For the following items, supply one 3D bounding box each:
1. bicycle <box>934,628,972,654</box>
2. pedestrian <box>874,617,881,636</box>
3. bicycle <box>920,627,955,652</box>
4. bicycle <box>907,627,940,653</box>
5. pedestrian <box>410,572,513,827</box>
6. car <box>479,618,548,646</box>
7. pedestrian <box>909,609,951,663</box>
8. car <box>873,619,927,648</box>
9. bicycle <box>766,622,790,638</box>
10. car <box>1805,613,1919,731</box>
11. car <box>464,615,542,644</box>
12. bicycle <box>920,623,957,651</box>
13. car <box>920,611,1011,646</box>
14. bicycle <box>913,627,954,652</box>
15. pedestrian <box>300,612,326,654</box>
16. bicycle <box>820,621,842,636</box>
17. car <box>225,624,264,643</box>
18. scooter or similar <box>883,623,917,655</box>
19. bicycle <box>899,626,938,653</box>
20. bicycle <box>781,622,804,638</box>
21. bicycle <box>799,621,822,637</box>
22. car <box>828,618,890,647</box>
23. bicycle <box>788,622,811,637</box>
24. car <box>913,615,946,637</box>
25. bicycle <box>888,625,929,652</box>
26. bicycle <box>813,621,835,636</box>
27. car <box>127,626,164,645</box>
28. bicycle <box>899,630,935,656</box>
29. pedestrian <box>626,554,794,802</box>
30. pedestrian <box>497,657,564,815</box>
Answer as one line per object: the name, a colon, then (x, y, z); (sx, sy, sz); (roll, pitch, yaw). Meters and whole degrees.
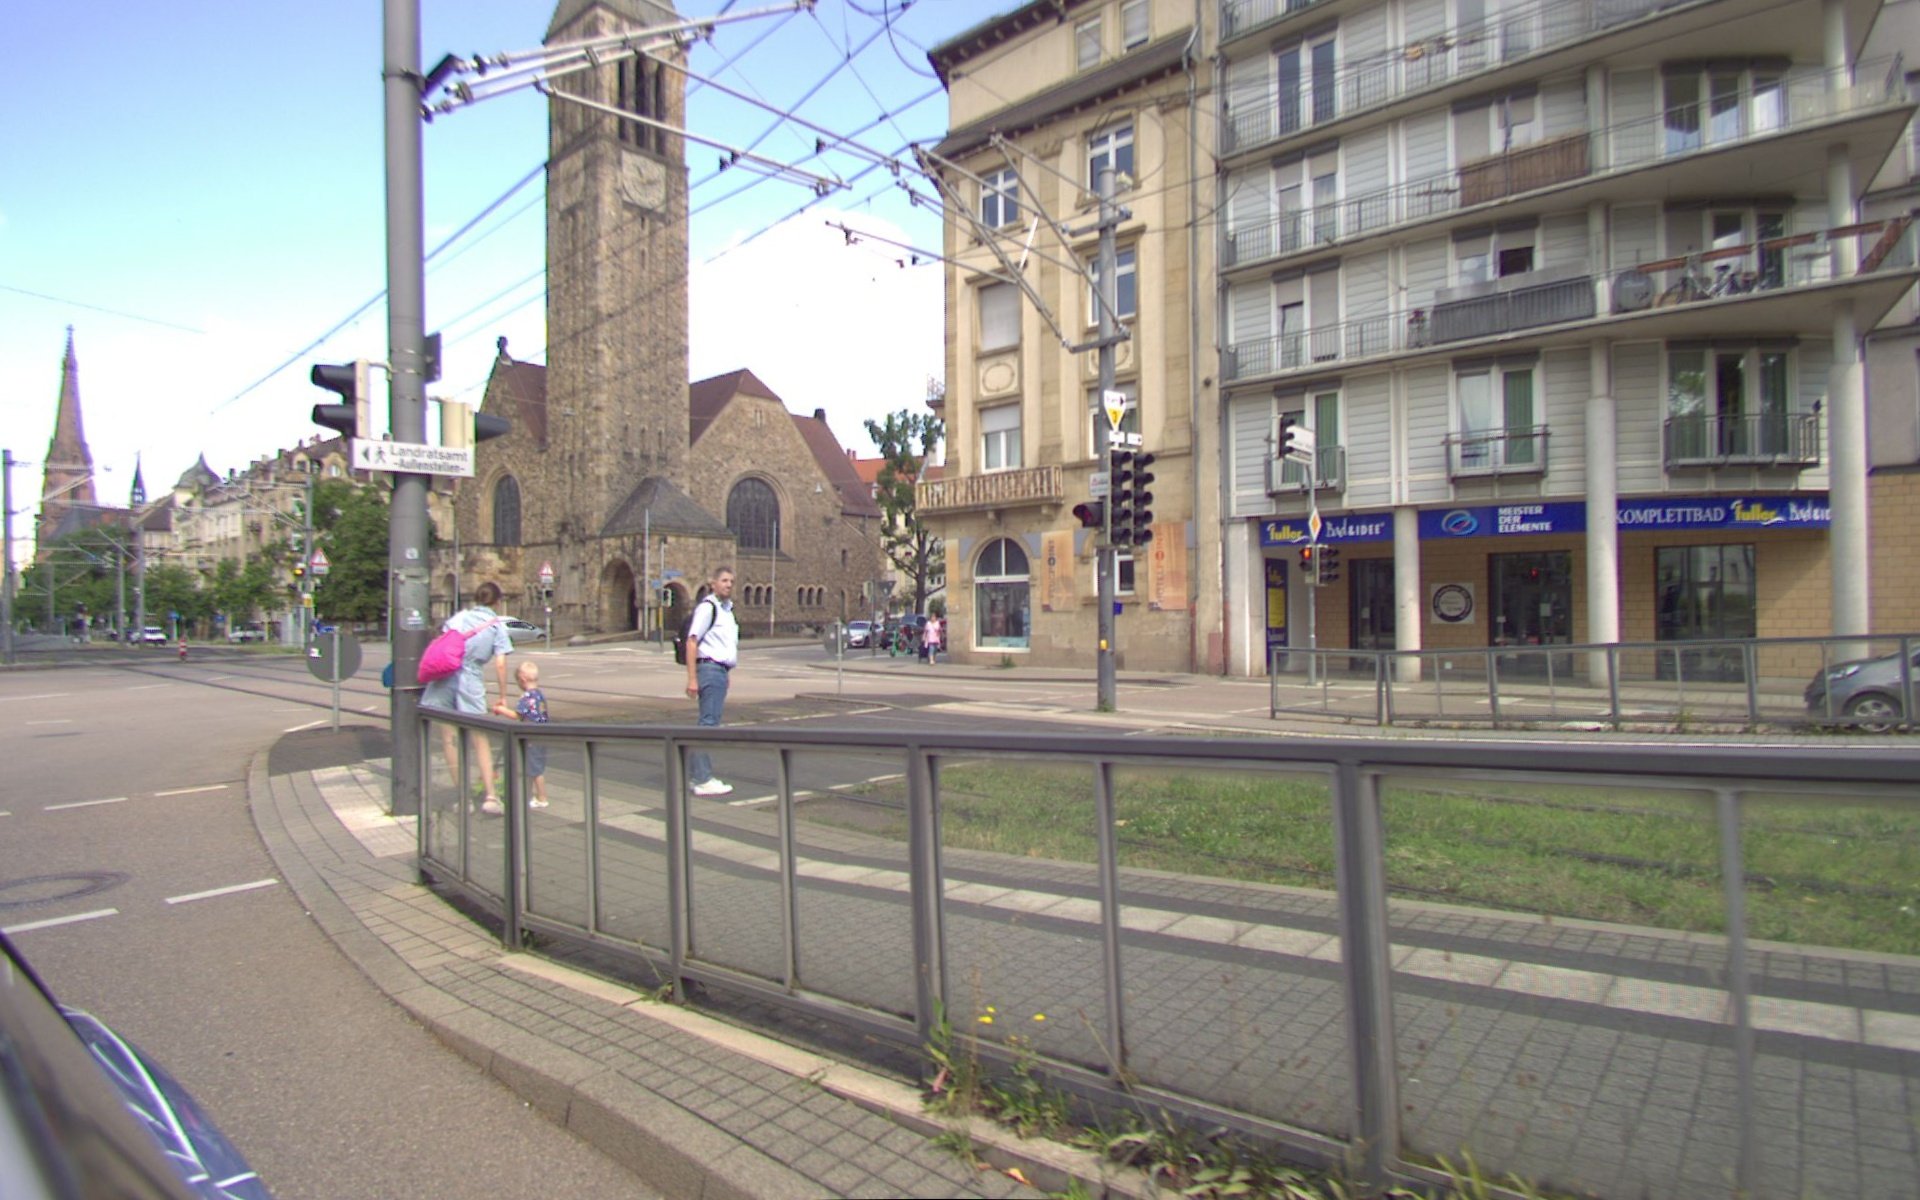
bicycle: (-0.306, 1.762, 43.379); (1.573, 1.060, 0.476); (-4, -2, 25)
pedestrian: (-6.443, 2.067, 79.130); (0.461, 1.466, 0.554); (-1, -1, 11)
bicycle: (-1.011, 1.774, 45.465); (1.469, 1.060, 0.460); (-3, -3, 13)
bicycle: (-1.591, 1.753, 44.037); (1.360, 1.060, 0.416); (-4, -3, 15)
pedestrian: (-3.486, 0.659, 7.099); (0.615, 1.678, 0.678); (0, -1, -26)
car: (-28.303, 2.053, 64.259); (1.816, 1.691, 3.591); (-3, -4, 38)
pedestrian: (-0.915, 1.109, 31.490); (0.936, 1.607, 0.990); (-5, -3, 17)
car: (-3.129, 1.735, 53.355); (1.703, 1.444, 3.798); (0, -1, 16)
bicycle: (-13.887, 2.284, 77.172); (1.937, 1.120, 0.579); (2, 1, 38)
car: (12.950, 0.880, 12.624); (3.640, 1.449, 1.617); (-1, -1, 40)
car: (-30.263, 1.986, 67.110); (1.999, 1.868, 4.247); (-3, -4, 40)
bicycle: (-0.873, 1.520, 41.221); (1.435, 1.060, 0.476); (-4, -2, 26)
car: (0.259, 1.383, 49.256); (3.931, 1.468, 1.818); (-2, -2, -21)
bicycle: (-1.210, 1.804, 46.287); (1.781, 1.060, 0.559); (-1, -2, -29)
pedestrian: (-27.267, 1.385, 42.652); (0.743, 1.744, 0.762); (-2, -2, 41)
bicycle: (-10.376, 2.290, 81.502); (1.937, 1.120, 0.579); (2, 1, 38)
car: (-58.342, 2.717, 82.500); (3.836, 1.506, 1.765); (-2, -1, 42)
scooter or similar: (-2.306, 1.498, 38.933); (1.250, 1.155, 0.475); (-4, -2, 35)
bicycle: (-1.775, 1.701, 43.403); (1.573, 1.060, 0.476); (-4, -2, 25)
bicycle: (-12.958, 2.287, 78.422); (1.937, 1.120, 0.579); (2, 1, 38)
bicycle: (-11.794, 2.286, 79.653); (1.937, 1.120, 0.579); (2, 1, 38)
car: (-5.465, 1.749, 55.354); (1.812, 1.459, 4.361); (1, -1, 17)
bicycle: (-12.517, 2.288, 78.975); (1.937, 1.120, 0.579); (2, 1, 38)
car: (-2.540, 2.160, 85.435); (1.670, 1.805, 3.977); (-1, -1, 17)
bicycle: (-2.182, 1.628, 42.627); (1.731, 1.060, 0.525); (-4, -3, 33)
bicycle: (-10.894, 2.289, 80.901); (1.937, 1.120, 0.579); (2, 1, 38)
car: (-68.249, 2.956, 84.766); (4.130, 1.517, 1.795); (-2, -1, 43)
bicycle: (-1.890, 1.886, 44.662); (1.471, 1.060, 0.460); (-3, -2, 17)
pedestrian: (-1.977, 0.572, 7.993); (1.044, 1.794, 0.839); (-2, -1, 41)
pedestrian: (-3.107, 0.960, 7.308); (0.413, 1.071, 0.438); (0, -1, -27)
